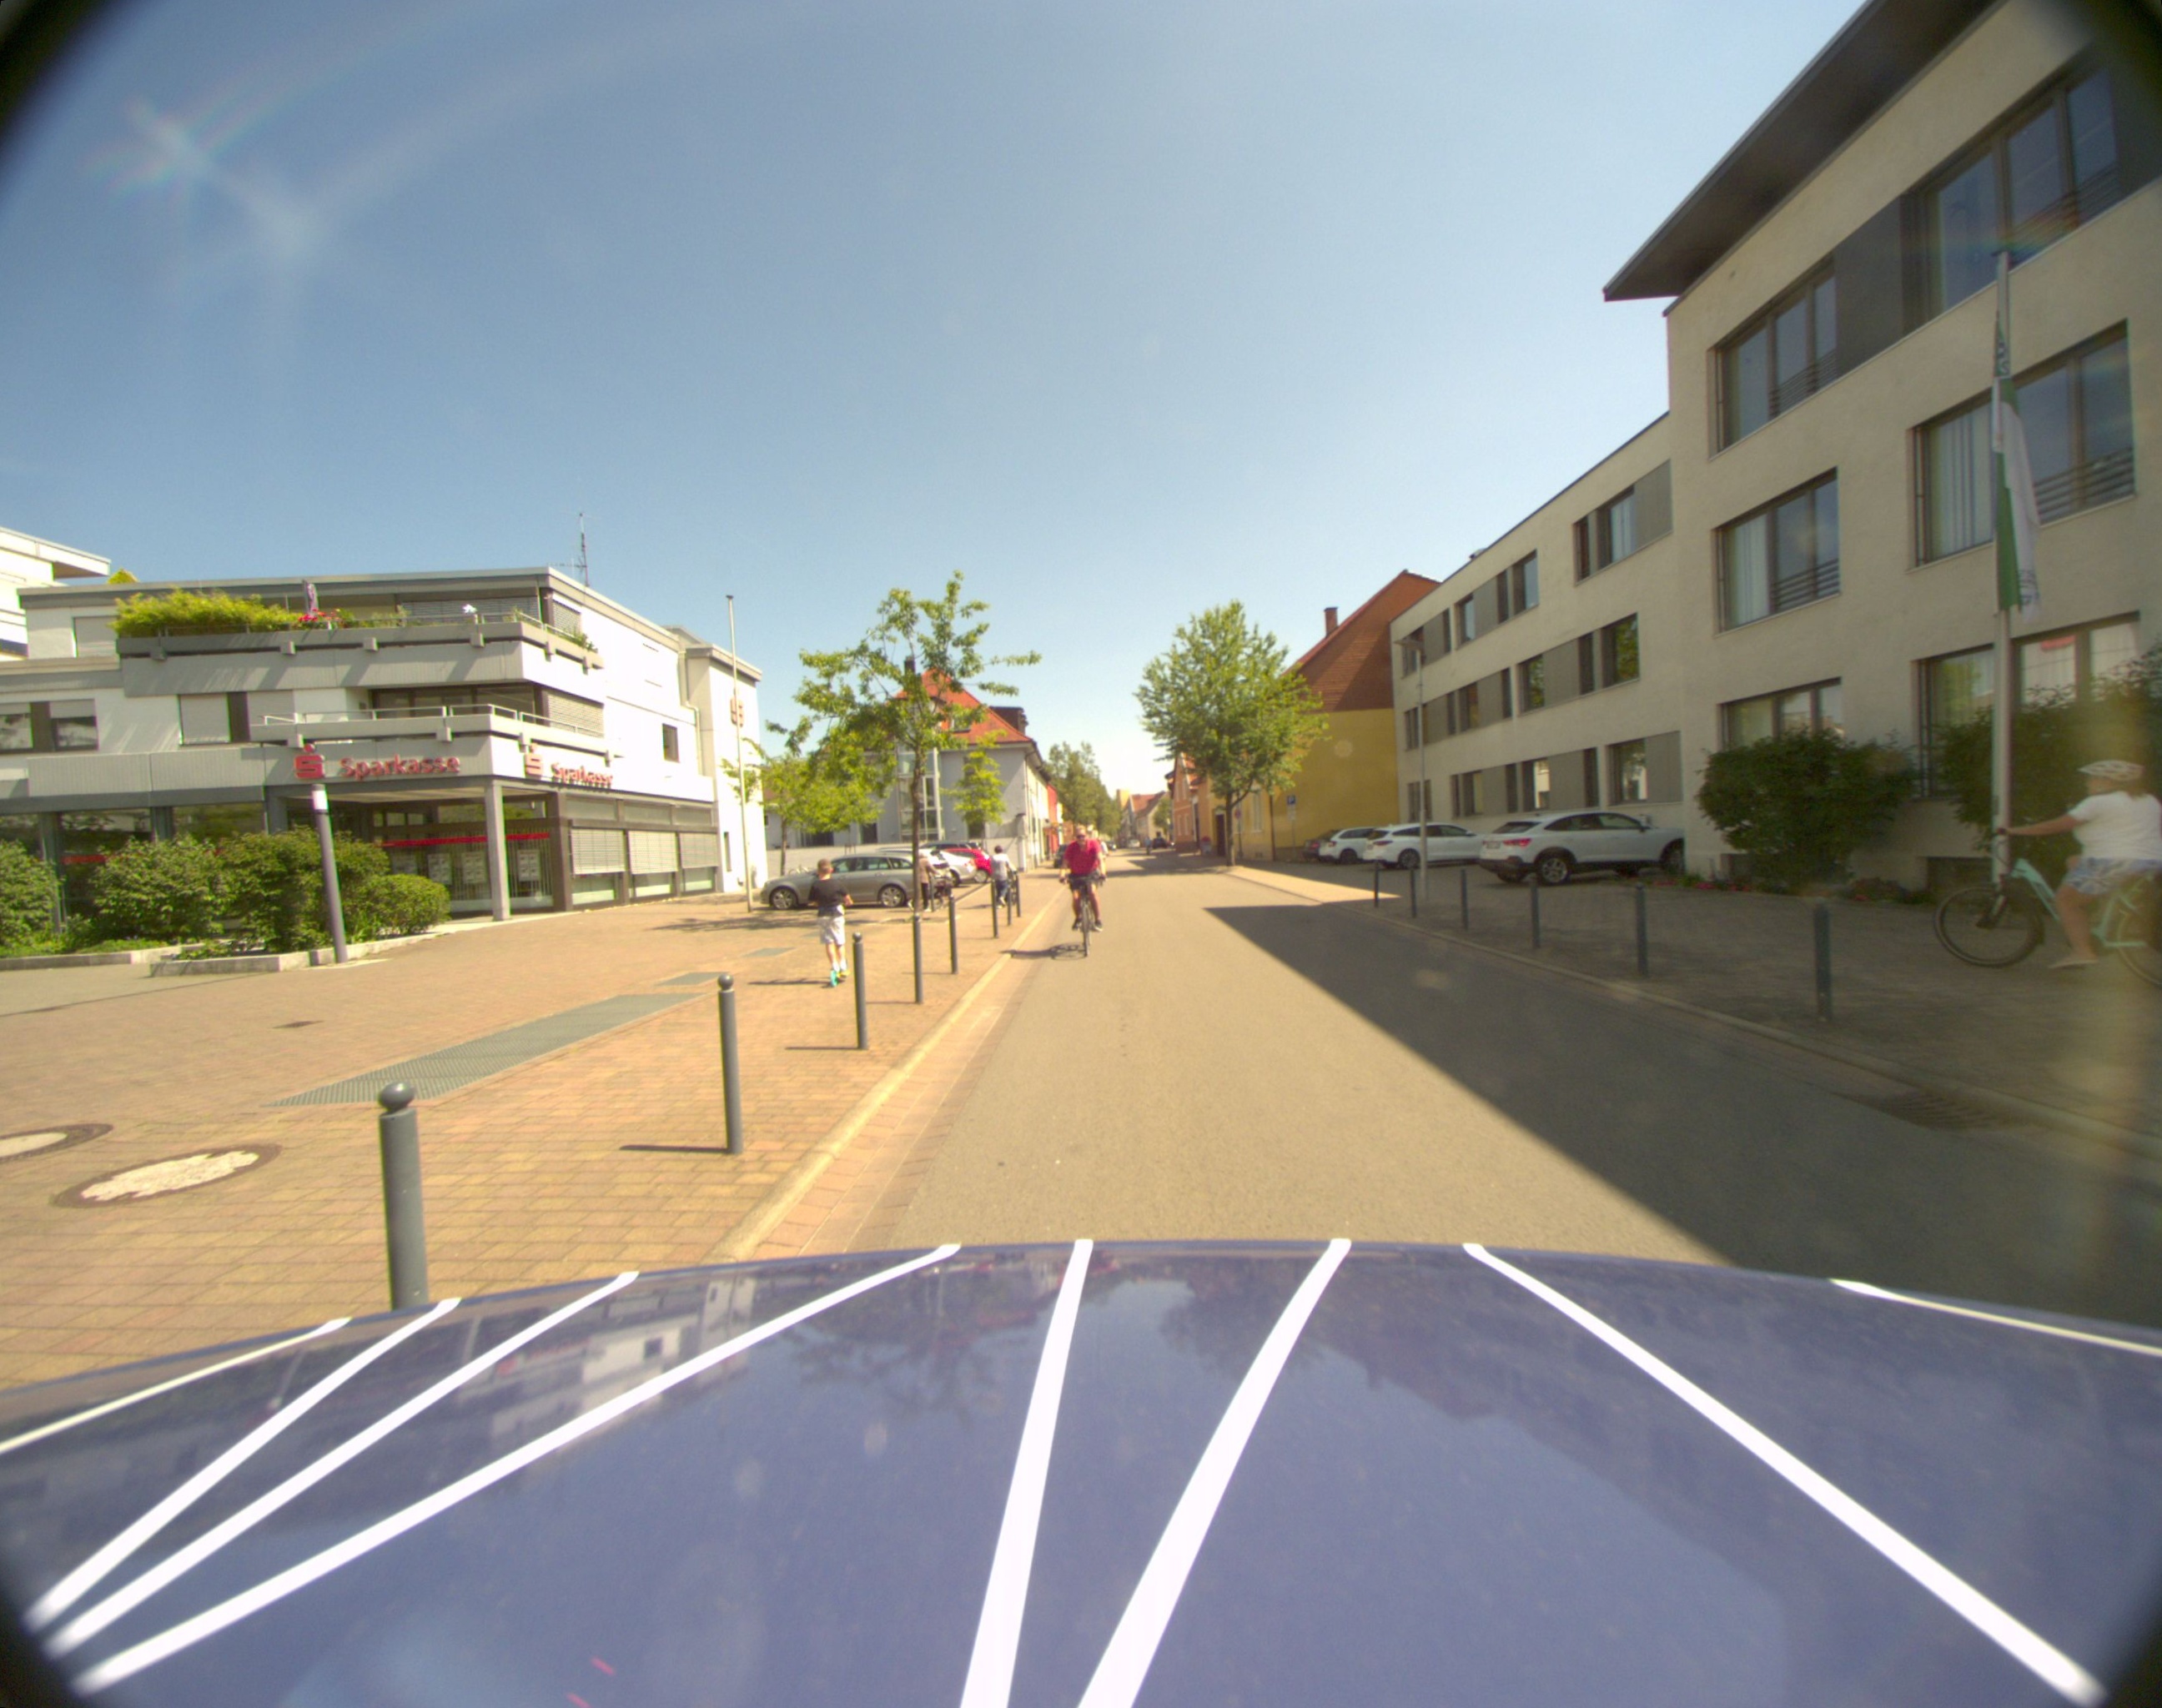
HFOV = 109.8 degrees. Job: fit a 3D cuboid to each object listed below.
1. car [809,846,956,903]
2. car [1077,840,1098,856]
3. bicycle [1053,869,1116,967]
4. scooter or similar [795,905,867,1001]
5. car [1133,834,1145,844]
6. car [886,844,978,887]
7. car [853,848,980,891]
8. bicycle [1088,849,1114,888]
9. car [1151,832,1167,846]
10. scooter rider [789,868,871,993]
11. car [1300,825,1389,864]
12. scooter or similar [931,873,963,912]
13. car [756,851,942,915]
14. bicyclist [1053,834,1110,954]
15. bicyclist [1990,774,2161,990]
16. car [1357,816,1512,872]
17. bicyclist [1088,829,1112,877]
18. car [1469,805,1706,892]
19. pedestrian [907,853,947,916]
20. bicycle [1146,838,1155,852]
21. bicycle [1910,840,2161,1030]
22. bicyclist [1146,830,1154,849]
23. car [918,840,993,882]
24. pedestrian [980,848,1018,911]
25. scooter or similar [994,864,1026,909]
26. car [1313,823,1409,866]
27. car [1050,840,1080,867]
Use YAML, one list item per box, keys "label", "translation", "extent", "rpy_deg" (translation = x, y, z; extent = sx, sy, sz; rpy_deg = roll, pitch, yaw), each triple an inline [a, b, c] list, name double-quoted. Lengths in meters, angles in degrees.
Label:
- label: "car"
  translation: [-5.980, 0.595, 23.222]
  extent: [4.046, 1.551, 1.712]
  rpy_deg: [-2, 1, -4]
- label: "car"
  translation: [0.543, -0.506, 65.322]
  extent: [1.530, 1.298, 3.249]
  rpy_deg: [-1, 1, -3]
- label: "bicycle"
  translation: [0.025, 0.907, 11.449]
  extent: [0.738, 1.183, 1.970]
  rpy_deg: [-6, 2, -1]
- label: "scooter or similar"
  translation: [-2.897, 1.127, 8.876]
  extent: [0.411, 0.960, 0.960]
  rpy_deg: [-2, 2, 4]
- label: "car"
  translation: [10.970, -2.811, 144.022]
  extent: [1.998, 1.696, 3.999]
  rpy_deg: [-2, 1, 1]
- label: "car"
  translation: [-6.030, 0.450, 31.046]
  extent: [3.430, 1.543, 1.490]
  rpy_deg: [-3, 2, -2]
- label: "car"
  translation: [-6.077, 0.562, 28.513]
  extent: [4.445, 1.434, 1.655]
  rpy_deg: [-2, 1, -6]
- label: "bicycle"
  translation: [0.661, 0.469, 26.111]
  extent: [0.690, 1.183, 1.799]
  rpy_deg: [-6, 2, -1]
- label: "car"
  translation: [10.562, -2.038, 102.812]
  extent: [1.825, 1.805, 3.999]
  rpy_deg: [-2, 1, 1]
- label: "scooter rider"
  translation: [-2.904, 0.853, 8.886]
  extent: [0.462, 1.317, 1.133]
  rpy_deg: [-2, 2, 4]
- label: "car"
  translation: [11.215, -0.421, 32.449]
  extent: [3.257, 1.393, 1.374]
  rpy_deg: [-4, 1, 1]
- label: "scooter or similar"
  translation: [-3.357, 0.961, 19.060]
  extent: [0.535, 0.940, 0.548]
  rpy_deg: [-1, 2, 39]
- label: "car"
  translation: [-6.083, 0.738, 20.359]
  extent: [4.445, 1.457, 1.689]
  rpy_deg: [-2, 2, -3]
- label: "bicyclist"
  translation: [0.005, 0.572, 11.382]
  extent: [0.703, 1.707, 0.759]
  rpy_deg: [-4, 3, 0]
- label: "bicyclist"
  translation: [7.704, 0.178, 5.706]
  extent: [0.716, 1.498, 0.870]
  rpy_deg: [-2, 2, 0]
- label: "car"
  translation: [11.562, -0.334, 25.028]
  extent: [4.323, 1.470, 1.513]
  rpy_deg: [-4, 2, 2]
- label: "bicyclist"
  translation: [0.641, -0.038, 26.149]
  extent: [0.703, 1.573, 0.878]
  rpy_deg: [-4, 2, 0]
- label: "car"
  translation: [11.040, -0.125, 16.779]
  extent: [3.997, 1.539, 1.748]
  rpy_deg: [-4, 1, 1]
- label: "pedestrian"
  translation: [-3.764, 0.731, 18.565]
  extent: [0.530, 1.492, 0.725]
  rpy_deg: [-1, 2, 40]
- label: "bicycle"
  translation: [6.016, -0.765, 65.875]
  extent: [0.594, 1.183, 1.725]
  rpy_deg: [-3, 2, 0]
- label: "bicycle"
  translation: [7.740, 0.548, 5.757]
  extent: [0.710, 1.245, 1.971]
  rpy_deg: [-5, 1, 0]
- label: "bicyclist"
  translation: [5.984, -1.293, 65.906]
  extent: [0.538, 1.630, 0.551]
  rpy_deg: [-2, 2, 1]
- label: "car"
  translation: [-5.434, 0.286, 33.165]
  extent: [3.040, 1.727, 1.344]
  rpy_deg: [-2, 2, -3]
- label: "pedestrian"
  translation: [-2.013, 0.619, 18.776]
  extent: [0.512, 1.507, 1.049]
  rpy_deg: [-1, 1, 17]
- label: "scooter or similar"
  translation: [-1.810, 0.822, 19.467]
  extent: [0.505, 1.112, 0.910]
  rpy_deg: [-1, 2, 16]
- label: "car"
  translation: [11.093, -0.384, 30.242]
  extent: [3.138, 1.442, 1.642]
  rpy_deg: [-4, 1, 3]
- label: "car"
  translation: [-0.994, -0.082, 45.862]
  extent: [1.530, 1.444, 3.520]
  rpy_deg: [-5, 1, -3]
